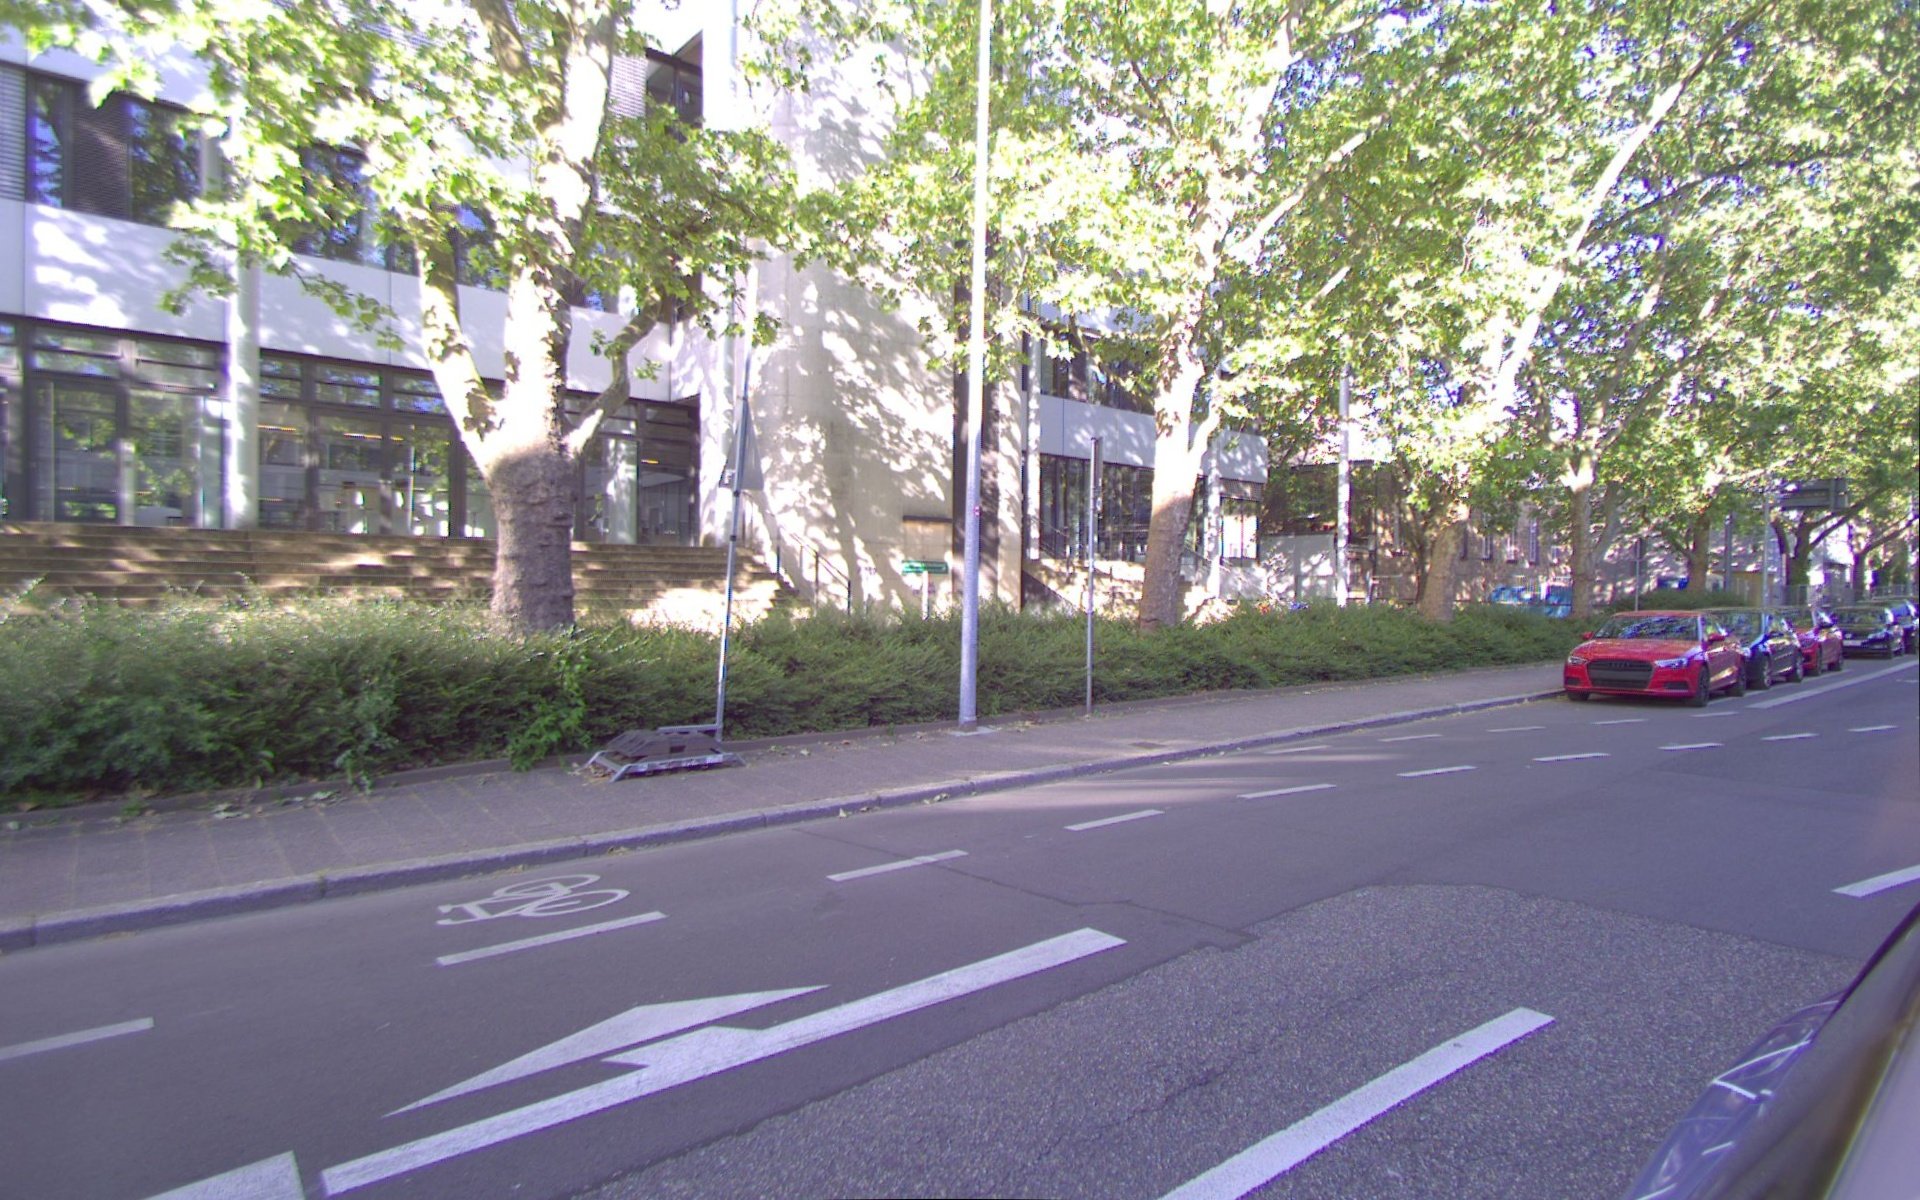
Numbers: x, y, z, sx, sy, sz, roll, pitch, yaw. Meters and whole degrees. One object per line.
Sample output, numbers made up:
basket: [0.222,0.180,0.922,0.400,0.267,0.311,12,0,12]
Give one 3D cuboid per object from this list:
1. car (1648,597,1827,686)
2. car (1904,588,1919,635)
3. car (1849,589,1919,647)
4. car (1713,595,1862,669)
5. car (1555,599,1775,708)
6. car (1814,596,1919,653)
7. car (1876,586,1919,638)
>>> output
car: [14.771,0.694,19.144,4.403,1.469,1.865,0,0,-41]
car: [38.878,0.446,39.971,4.403,1.781,1.865,0,0,-41]
car: [29.574,0.515,31.810,4.403,1.689,1.865,0,0,-41]
car: [18.439,0.639,22.481,4.403,1.469,1.865,0,0,-41]
car: [11.324,0.740,16.143,4.403,1.469,1.865,0,0,-41]
car: [25.795,0.623,28.615,4.403,1.469,1.865,0,0,-41]
car: [33.912,0.397,35.701,4.403,1.781,1.865,0,0,-41]
